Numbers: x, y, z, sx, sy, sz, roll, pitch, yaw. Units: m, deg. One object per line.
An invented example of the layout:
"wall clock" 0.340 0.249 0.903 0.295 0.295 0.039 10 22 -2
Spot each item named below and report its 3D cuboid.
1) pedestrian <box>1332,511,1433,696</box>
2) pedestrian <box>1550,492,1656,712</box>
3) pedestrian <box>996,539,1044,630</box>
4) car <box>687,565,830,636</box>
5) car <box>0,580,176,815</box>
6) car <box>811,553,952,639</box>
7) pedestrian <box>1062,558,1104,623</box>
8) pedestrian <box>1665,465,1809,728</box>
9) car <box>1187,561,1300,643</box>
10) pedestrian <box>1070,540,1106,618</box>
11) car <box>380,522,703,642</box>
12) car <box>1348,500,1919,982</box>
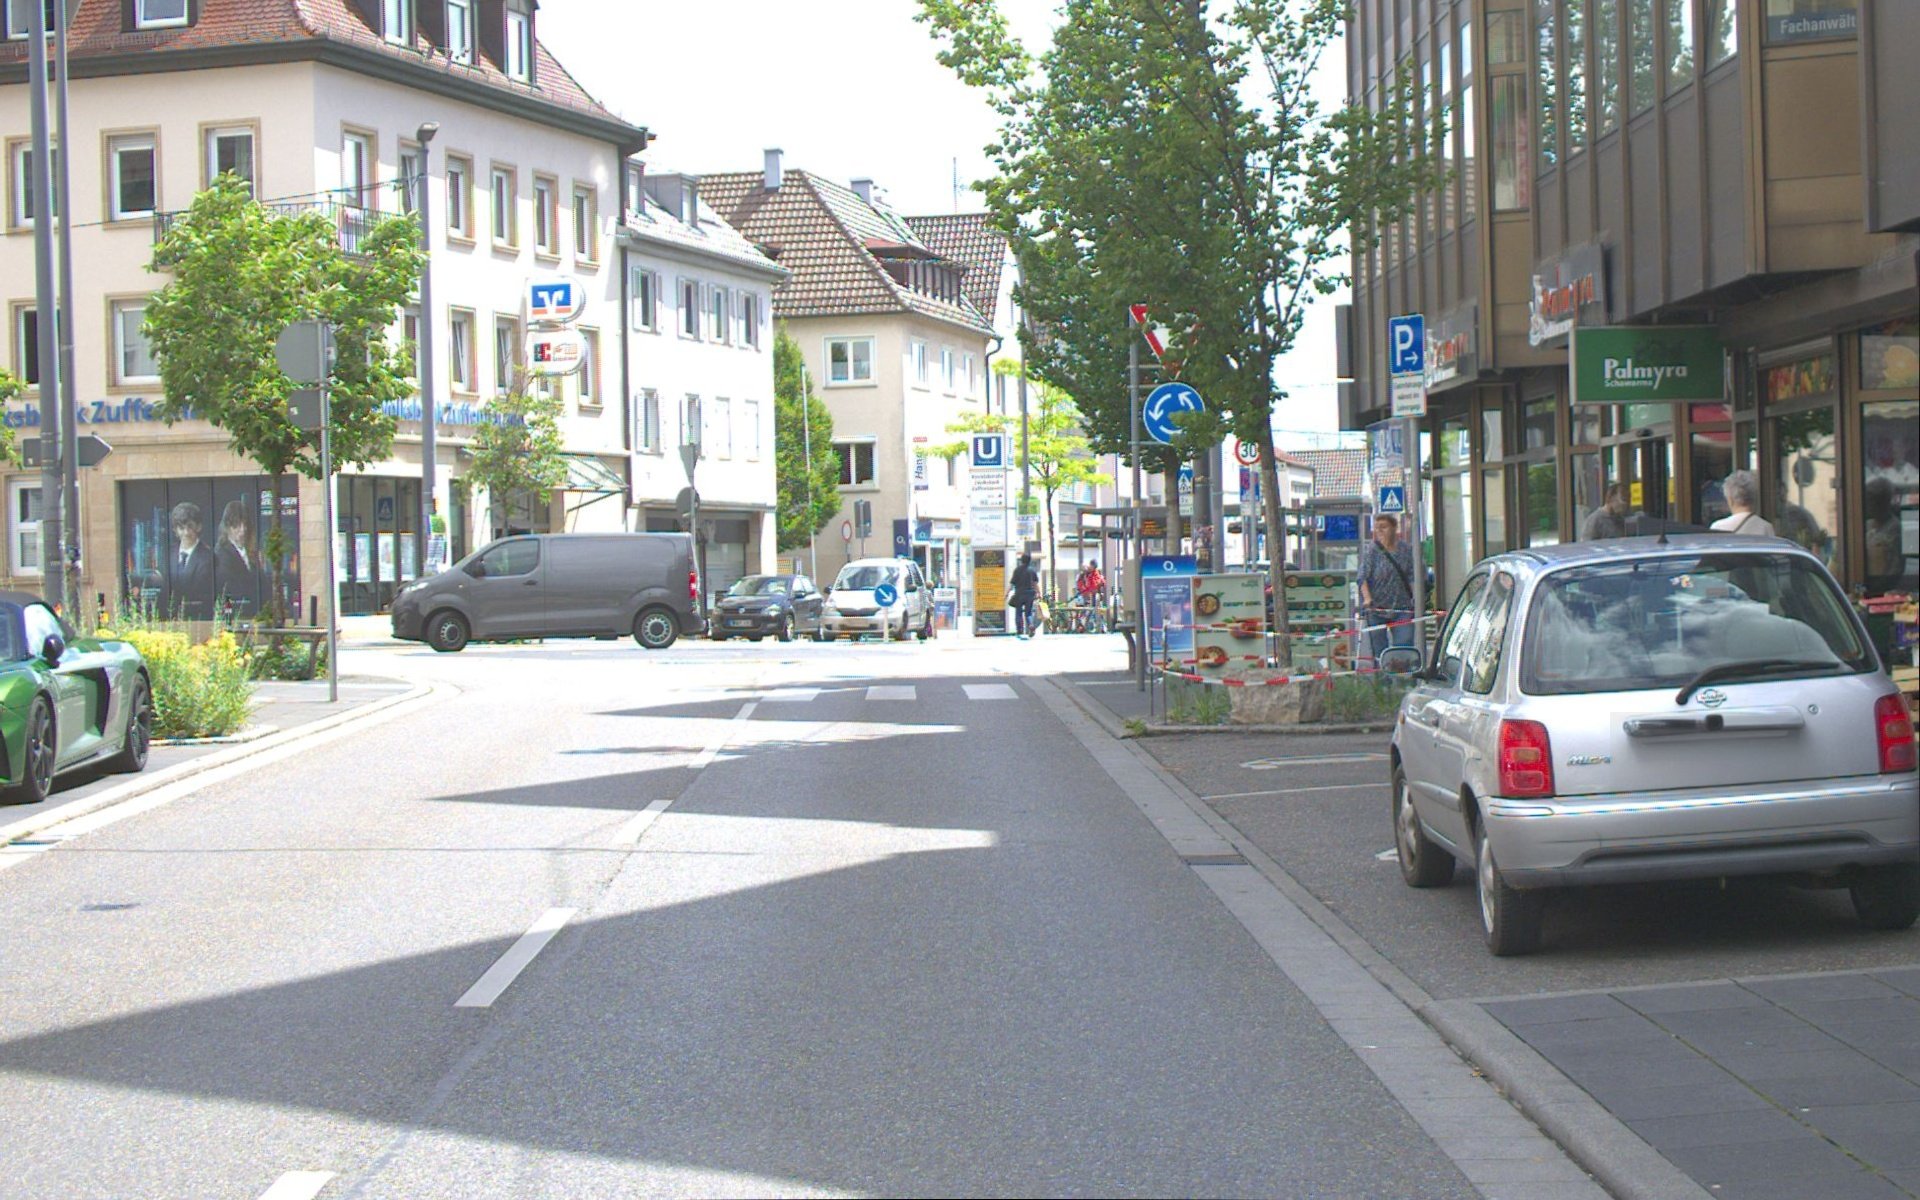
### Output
"pedestrian" 3.730 0.028 30.400 0.784 1.610 0.800 0 0 -1
"pedestrian" 5.354 0.015 28.653 0.737 1.808 0.711 0 0 -1
"pedestrian" 1.125 -0.293 64.505 0.869 1.702 0.531 0 0 2
"car" -4.219 -0.002 72.498 1.994 1.448 3.998 0 0 12
"car" -6.248 0.521 21.266 1.818 1.219 4.524 1 1 -1
"car" -1.555 -0.085 69.601 1.994 1.683 3.998 0 0 12
"pedestrian" 3.021 -0.239 84.489 0.746 1.574 0.729 -1 1 -41
"pedestrian" 5.111 -0.025 22.628 0.655 1.701 0.647 0 0 -23
"car" 5.514 0.028 66.541 1.698 1.525 3.469 0 0 13
"pedestrian" 2.917 -0.484 78.510 0.727 1.757 0.748 0 1 10
"car" -6.606 -0.288 54.620 4.982 1.842 2.048 0 0 -5
"car" 2.558 0.431 13.302 1.609 1.490 3.795 -4 1 0
